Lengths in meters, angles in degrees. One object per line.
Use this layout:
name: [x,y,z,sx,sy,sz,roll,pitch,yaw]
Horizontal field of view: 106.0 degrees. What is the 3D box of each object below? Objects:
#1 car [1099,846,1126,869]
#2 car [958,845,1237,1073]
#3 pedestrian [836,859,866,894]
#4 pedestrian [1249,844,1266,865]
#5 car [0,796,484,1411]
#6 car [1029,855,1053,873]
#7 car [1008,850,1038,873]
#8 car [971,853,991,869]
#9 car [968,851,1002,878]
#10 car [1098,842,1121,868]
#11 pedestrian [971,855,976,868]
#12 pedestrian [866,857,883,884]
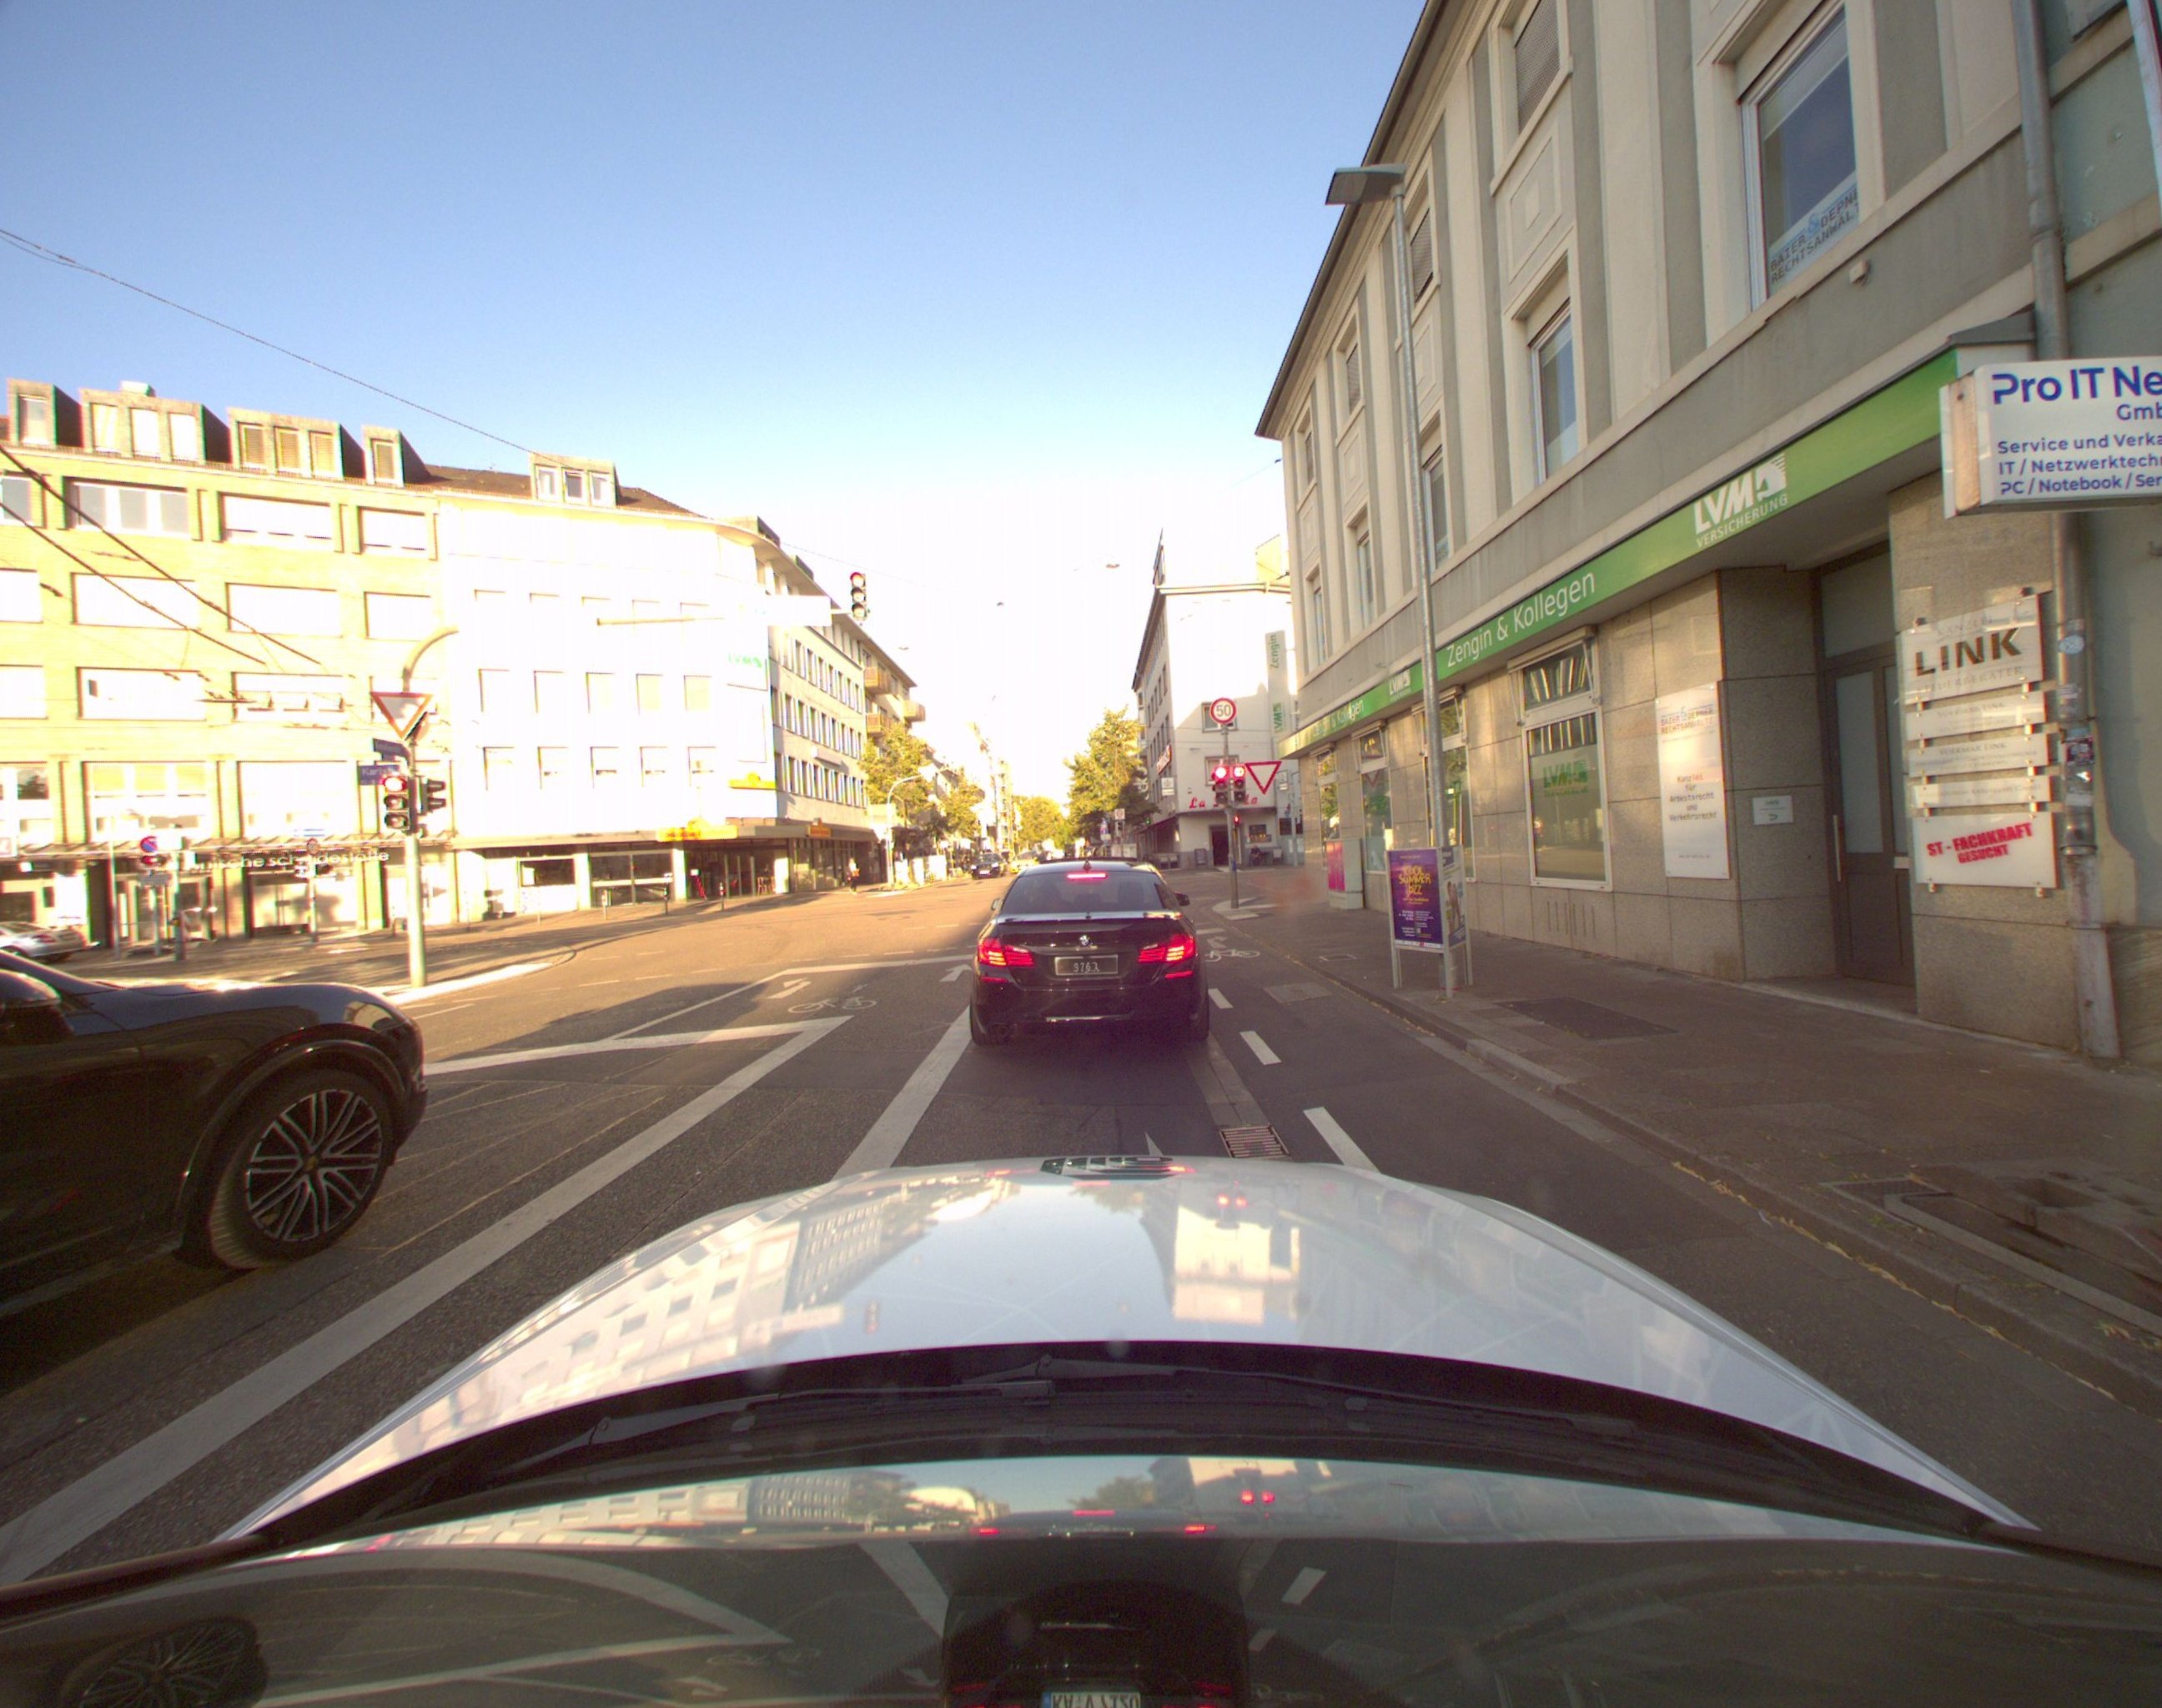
car: [2.097,0.236,54.706,1.620,1.471,3.394,-2,0,0]
car: [0.099,0.700,7.800,1.898,1.540,4.448,-1,0,-1]
pedestrian: [-10.738,1.057,38.020,0.897,1.537,0.954,-3,0,44]
pedestrian: [10.002,0.028,46.234,0.695,1.157,0.843,-3,0,-1]
car: [-4.030,0.759,1.768,1.942,1.714,4.562,-4,0,1]
car: [-3.191,0.735,64.676,1.731,1.293,3.993,-3,0,-5]
car: [-4.161,0.519,57.930,1.990,1.442,3.993,-3,0,-5]
car: [-9.756,0.654,79.425,1.731,1.461,3.993,-3,0,-5]
car: [-6.137,0.653,52.537,1.990,1.618,3.993,-3,0,-5]
car: [2.124,0.050,61.110,1.417,1.854,3.050,-2,0,-2]
pedestrian: [-11.585,0.836,88.002,0.443,1.416,0.525,-3,0,-2]
pedestrian: [-13.225,1.073,52.179,0.821,1.676,0.871,-3,0,-1]
